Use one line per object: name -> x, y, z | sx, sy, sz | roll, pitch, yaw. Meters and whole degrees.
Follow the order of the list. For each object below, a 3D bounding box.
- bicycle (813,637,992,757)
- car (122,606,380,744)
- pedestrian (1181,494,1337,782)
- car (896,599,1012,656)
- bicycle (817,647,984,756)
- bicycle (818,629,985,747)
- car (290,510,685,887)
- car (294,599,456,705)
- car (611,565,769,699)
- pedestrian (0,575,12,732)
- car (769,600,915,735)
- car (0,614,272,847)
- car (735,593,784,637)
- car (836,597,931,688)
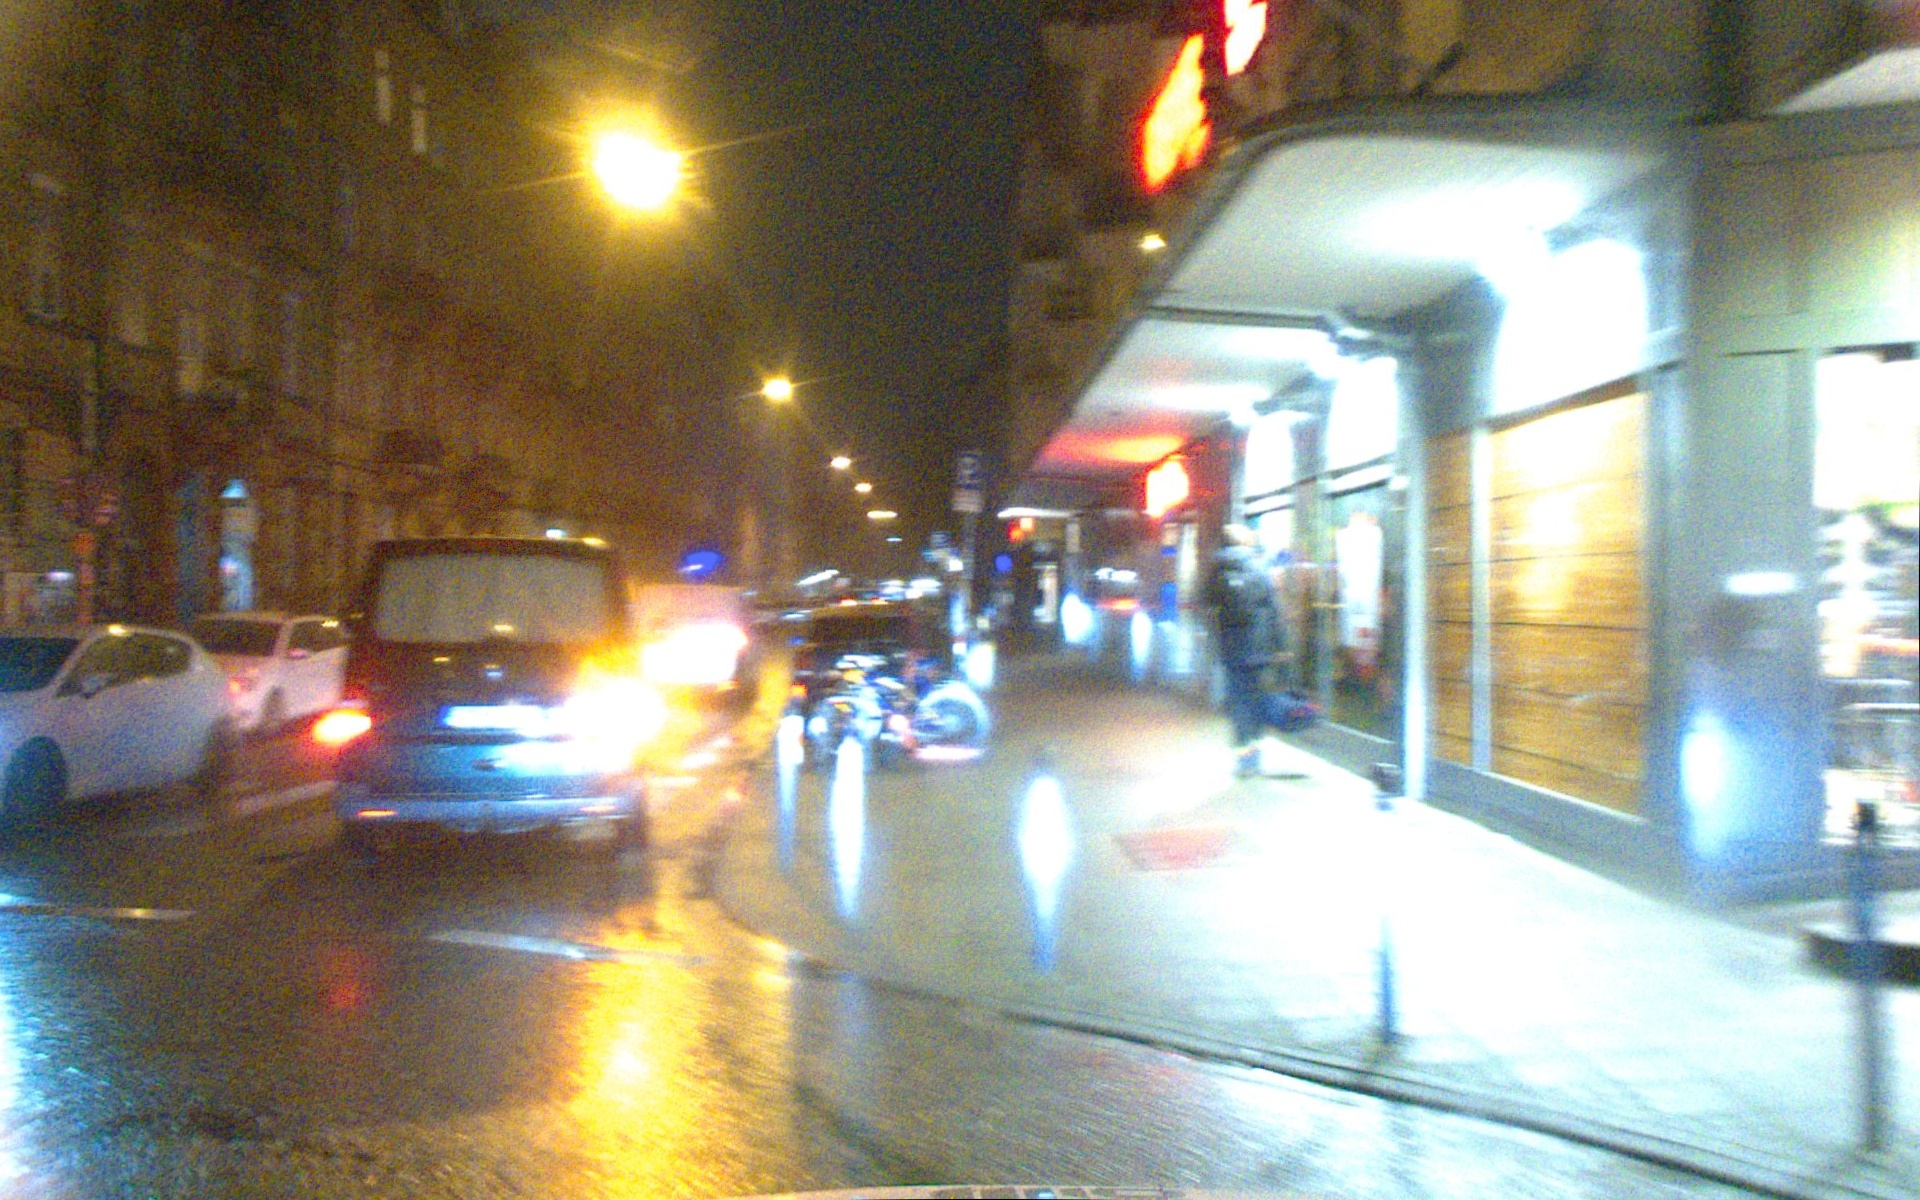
bicycle -> -0.570, 0.957, 16.479 | 1.747, 1.144, 0.435 | -1, 0, -3
car -> -8.993, 0.888, 21.357 | 1.554, 1.489, 4.023 | 3, 0, -1
pedestrian -> 2.428, 0.302, 13.552 | 1.032, 2.247, 0.970 | -1, -1, -1
car -> -0.233, 1.038, 61.937 | 3.924, 2.049, 1.990 | 0, -2, -18
bicycle -> -0.622, 1.055, 17.360 | 1.727, 1.098, 0.435 | 0, 0, -3
bicycle -> -0.633, 0.947, 17.987 | 1.727, 1.144, 0.435 | -4, 0, -3
car -> -3.183, 0.530, 11.382 | 2.088, 2.026, 4.582 | 1, 0, -15
car -> -9.102, 0.768, 25.939 | 1.554, 1.536, 2.787 | 1, 0, -1
car -> -4.271, 0.457, 26.862 | 2.081, 1.956, 4.822 | 1, 0, -4
pedestrian -> -11.406, 0.602, 18.608 | 0.787, 1.797, 1.016 | 2, -1, 5
car -> -1.495, 0.840, 22.013 | 1.718, 1.593, 4.152 | 1, -1, -2
car -> -6.874, 0.879, 12.316 | 1.530, 1.452, 4.071 | -1, 0, 4
car -> -9.863, 0.718, 81.471 | 1.953, 2.049, 3.999 | 2, 0, -2
car -> -1.478, 0.806, 32.405 | 1.718, 1.636, 3.987 | 1, -1, -2
